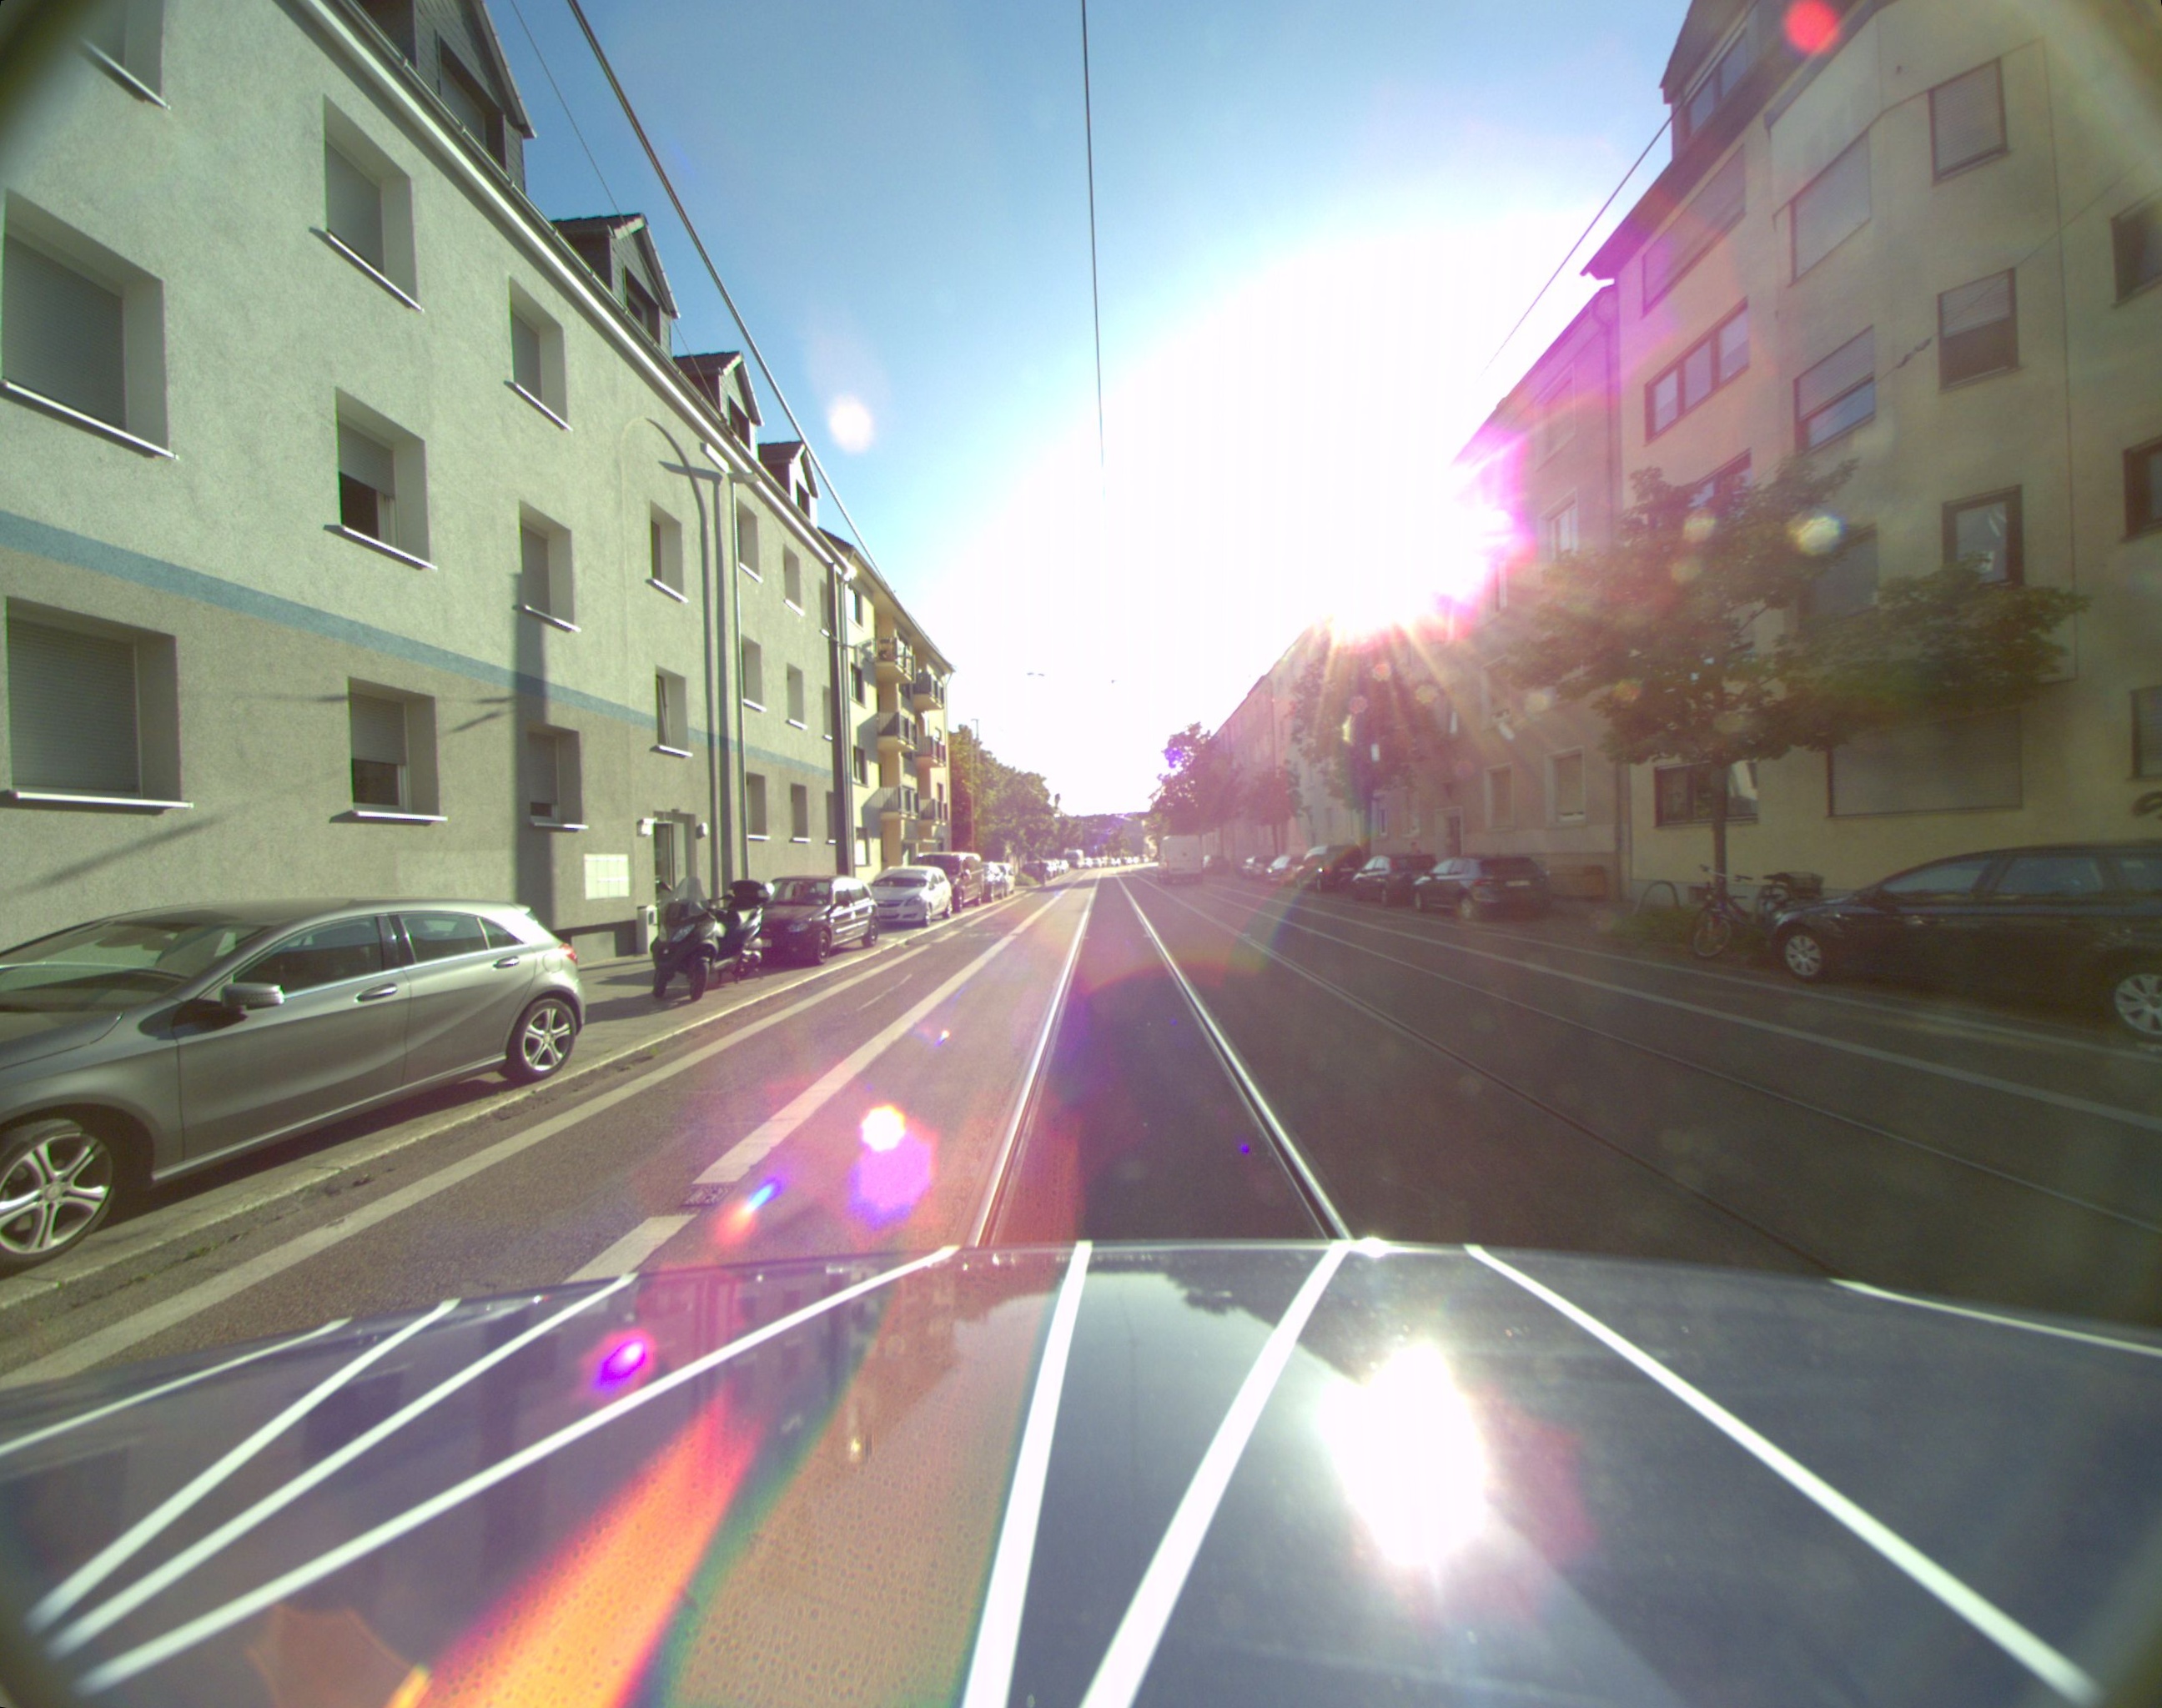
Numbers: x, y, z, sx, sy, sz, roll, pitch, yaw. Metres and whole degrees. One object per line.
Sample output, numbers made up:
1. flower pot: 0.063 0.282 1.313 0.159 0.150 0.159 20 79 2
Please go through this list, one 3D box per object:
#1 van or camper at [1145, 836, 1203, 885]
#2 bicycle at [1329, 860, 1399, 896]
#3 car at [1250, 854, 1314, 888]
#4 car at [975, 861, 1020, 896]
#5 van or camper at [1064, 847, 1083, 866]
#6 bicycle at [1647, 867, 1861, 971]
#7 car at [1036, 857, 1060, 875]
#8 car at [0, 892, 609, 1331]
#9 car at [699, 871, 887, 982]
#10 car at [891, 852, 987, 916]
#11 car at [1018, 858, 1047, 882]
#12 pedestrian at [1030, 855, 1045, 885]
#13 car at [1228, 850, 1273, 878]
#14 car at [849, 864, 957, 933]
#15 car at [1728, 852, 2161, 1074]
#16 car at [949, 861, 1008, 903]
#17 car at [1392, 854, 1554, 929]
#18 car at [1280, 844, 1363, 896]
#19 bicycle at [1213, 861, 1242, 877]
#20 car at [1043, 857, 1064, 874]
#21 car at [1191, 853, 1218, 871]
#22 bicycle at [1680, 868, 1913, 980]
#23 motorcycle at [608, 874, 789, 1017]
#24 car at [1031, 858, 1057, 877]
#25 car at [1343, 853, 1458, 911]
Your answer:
1. van or camper: 5.201 0.343 43.396 2.376 2.538 6.834 -2 0 0
2. bicycle: 9.944 0.833 26.738 2.116 1.099 0.746 -4 0 0
3. car: 9.419 0.748 36.030 1.769 1.464 4.859 -2 0 1
4. car: -3.826 1.095 35.454 1.557 1.533 3.632 0 0 2
5. van or camper: -0.941 0.327 104.903 2.090 2.548 5.694 -2 1 4
6. bicycle: 9.308 0.882 10.569 2.298 1.326 0.699 -2 1 2
7. car: -2.987 1.098 69.254 1.828 1.562 4.478 0 0 1
8. car: -5.068 1.094 4.265 1.868 1.545 4.367 0 0 4
9. car: -4.821 1.127 13.339 1.612 1.562 3.905 0 0 4
10. car: -4.510 0.890 24.994 1.933 1.910 5.005 0 0 3
11. car: -3.392 1.102 53.927 1.612 1.562 4.479 0 0 2
12. pedestrian: -2.648 0.971 46.177 0.801 1.800 0.946 0 1 2
13. car: 10.002 0.559 45.079 1.769 1.464 4.753 -2 0 3
14. car: -4.478 1.065 19.728 1.805 1.562 3.904 0 0 1
15. car: 8.647 0.775 6.804 1.769 1.533 4.734 -2 0 2
16. car: -4.035 1.065 30.563 1.612 1.562 4.219 0 0 2
17. car: 9.161 0.800 18.160 1.769 1.464 4.042 -4 0 1
18. car: 9.559 0.600 30.581 1.770 1.835 4.423 -4 0 -1
19. bicycle: 11.348 1.142 58.987 2.149 1.136 0.535 -2 1 -2
20. car: -2.667 1.076 74.248 1.828 1.562 4.478 0 0 1
21. car: 11.159 0.688 69.016 1.688 1.542 4.048 -2 0 -1
22. bicycle: 9.225 0.890 9.858 2.298 1.326 0.699 -2 1 2
23. motorcycle: -4.771 1.057 9.796 0.807 1.513 2.709 -1 0 4
24. car: -3.094 1.114 63.932 1.828 1.562 4.478 0 0 1
25. car: 9.461 0.753 22.911 1.769 1.464 4.181 -4 0 2
